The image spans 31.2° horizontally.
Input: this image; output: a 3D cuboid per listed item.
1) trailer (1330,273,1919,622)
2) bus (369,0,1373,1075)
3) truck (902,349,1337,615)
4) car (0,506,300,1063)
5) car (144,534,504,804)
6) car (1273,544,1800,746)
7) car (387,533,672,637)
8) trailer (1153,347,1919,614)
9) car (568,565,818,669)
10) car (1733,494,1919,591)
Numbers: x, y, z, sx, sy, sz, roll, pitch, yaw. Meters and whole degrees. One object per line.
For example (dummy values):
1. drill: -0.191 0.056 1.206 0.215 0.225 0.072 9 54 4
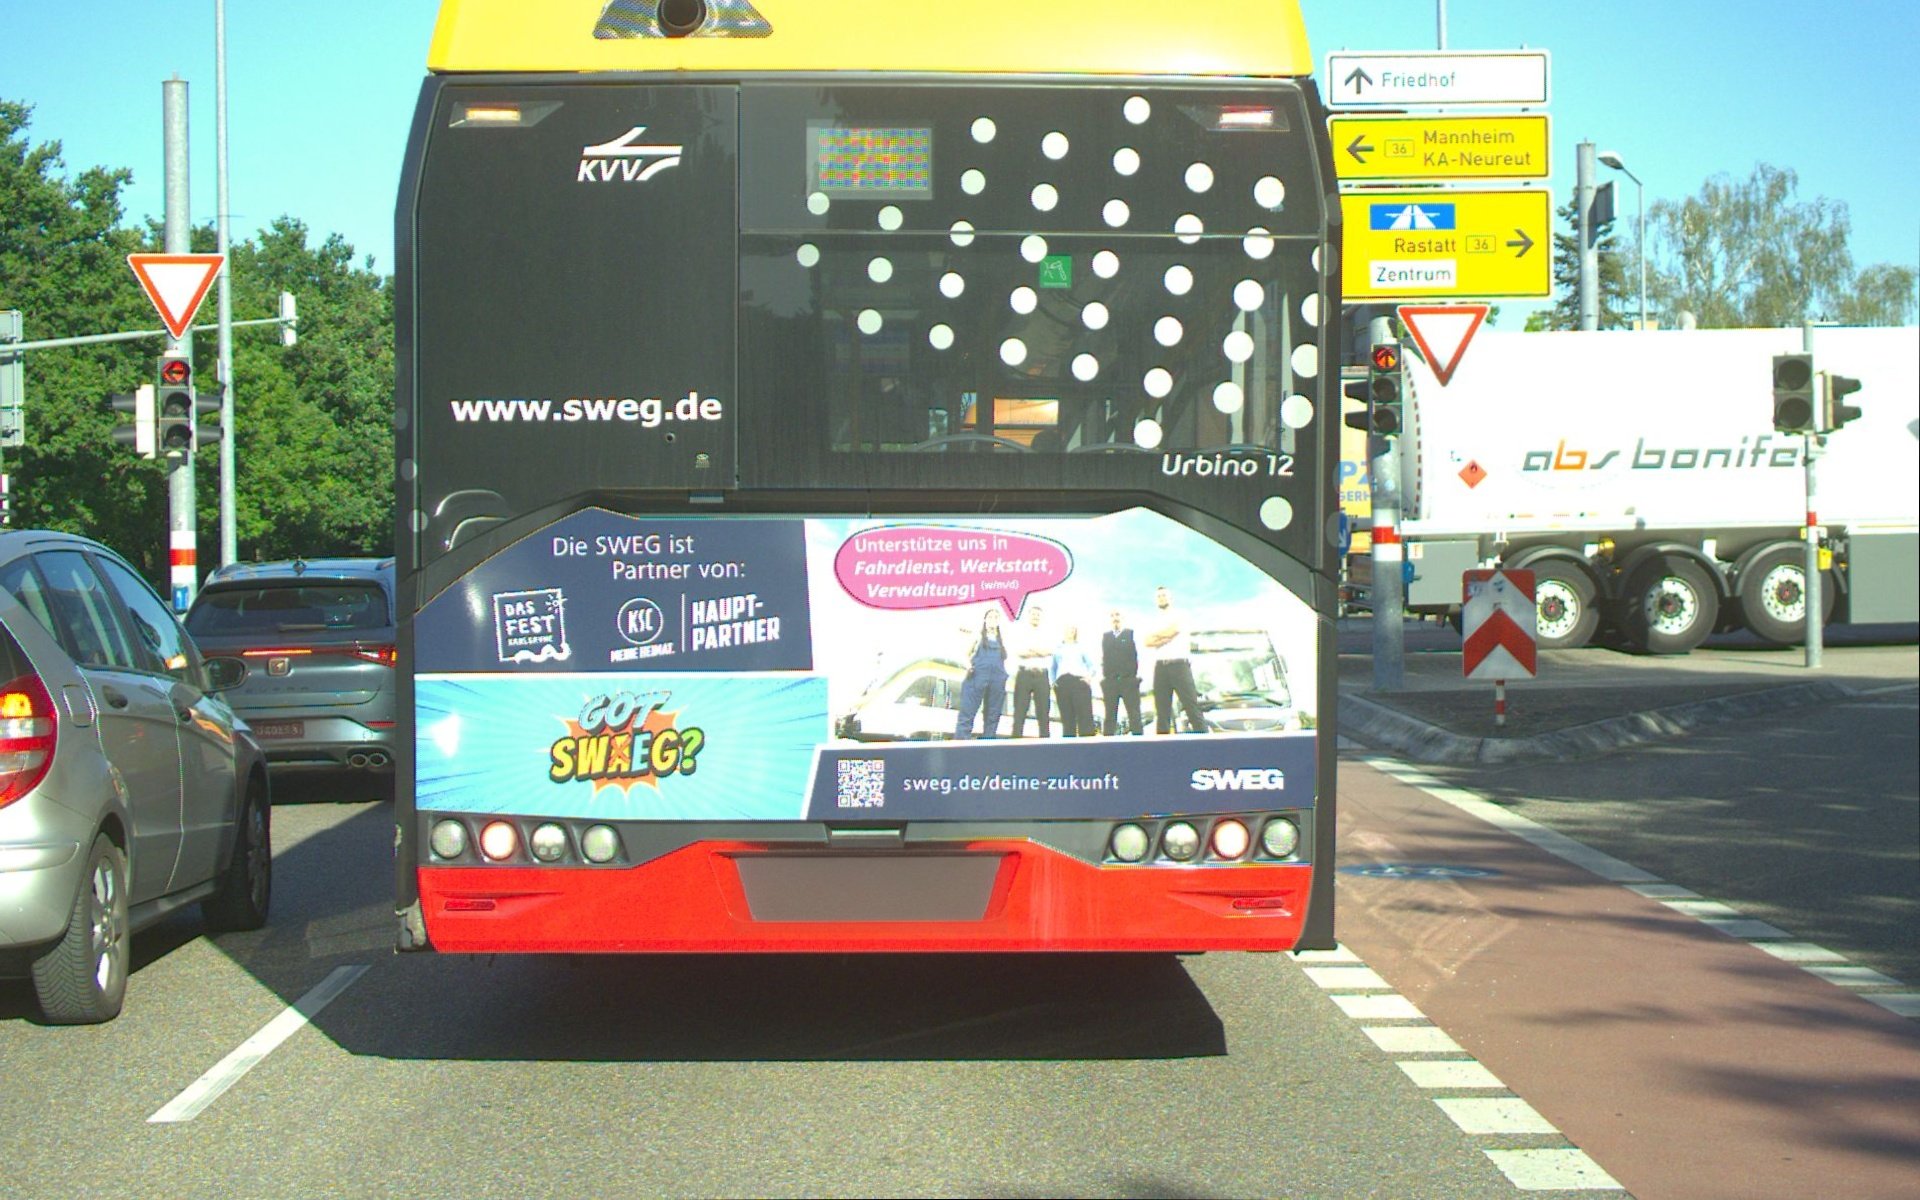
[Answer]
1. trailer: 10.009 -1.692 38.118 11.473 3.683 2.396 -1 1 -7
2. bus: -0.303 -0.534 14.954 2.596 3.323 11.984 0 1 -1
3. truck: 2.426 -1.829 53.385 6.396 3.984 2.473 -1 1 -7
4. car: -3.580 0.504 12.201 1.754 1.614 4.034 -1 2 -1
5. car: -3.788 0.375 21.003 1.588 1.480 3.682 -1 0 -2
6. car: 4.018 0.288 24.198 3.523 1.297 1.574 1 2 8
7. car: -6.153 -0.207 49.285 3.986 1.437 1.566 0 0 -6
8. trailer: 9.556 -1.889 54.203 12.731 4.016 2.471 -1 1 -7
9. car: -4.364 0.259 55.993 3.986 1.606 1.696 -1 1 -6
10. car: 13.045 -0.785 47.868 4.159 1.298 1.575 0 0 -4
